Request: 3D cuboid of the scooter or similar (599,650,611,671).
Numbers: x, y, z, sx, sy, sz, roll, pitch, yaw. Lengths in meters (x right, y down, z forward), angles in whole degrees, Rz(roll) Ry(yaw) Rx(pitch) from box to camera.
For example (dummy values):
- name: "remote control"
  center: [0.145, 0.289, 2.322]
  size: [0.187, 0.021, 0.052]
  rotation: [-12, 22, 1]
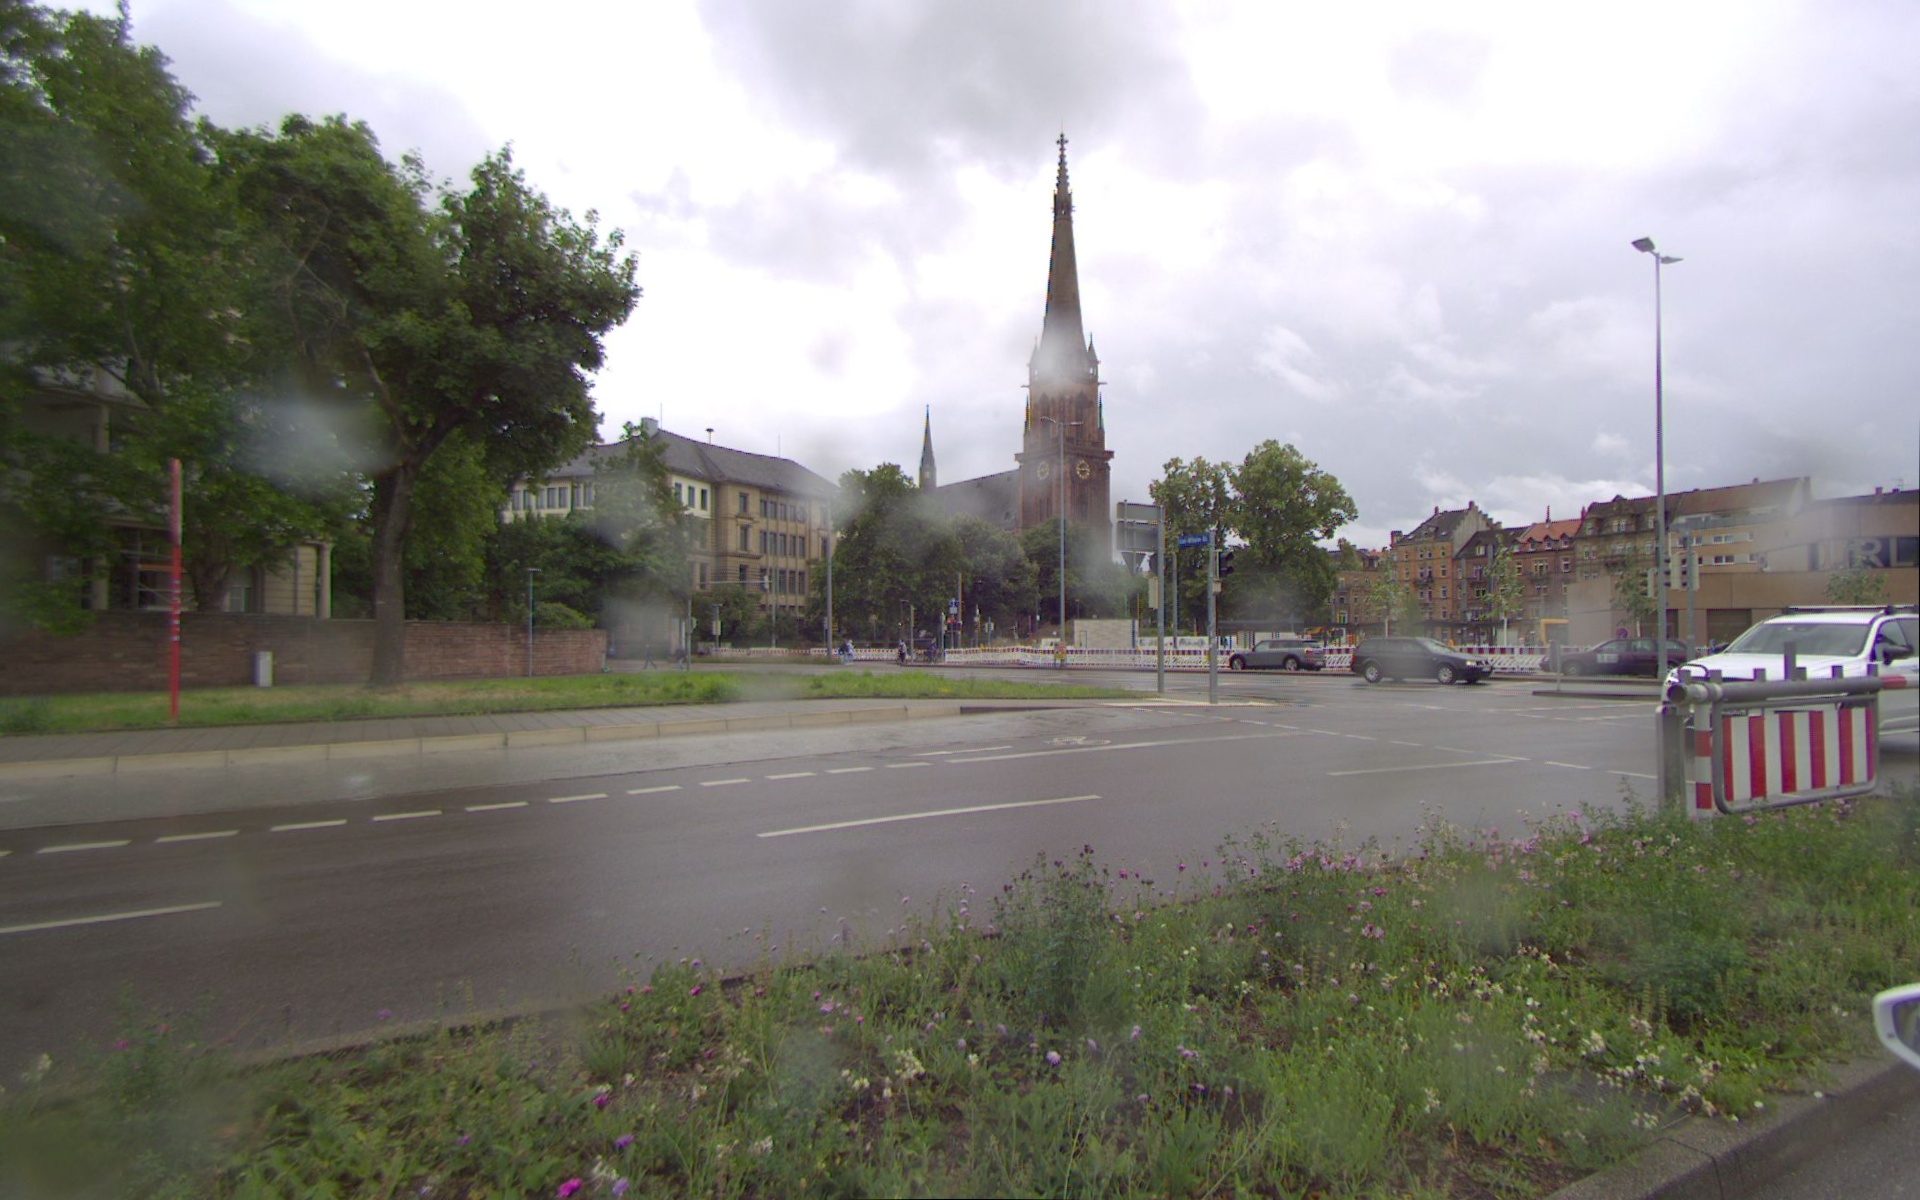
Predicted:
- name: "scooter or similar"
  center: [-18.785, 3.206, 53.163]
  size: [0.274, 1.096, 1.078]
  rotation: [0, -2, -4]

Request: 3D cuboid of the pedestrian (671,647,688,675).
- name: "pedestrian"
  center: [-15.410, 3.326, 55.173]
  size: [0.662, 1.520, 0.774]
  rotation: [0, -2, 0]

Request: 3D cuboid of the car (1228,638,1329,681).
- name: "car"
  center: [13.411, 2.461, 42.465]
  size: [1.695, 1.728, 3.781]
  rotation: [1, -2, -37]

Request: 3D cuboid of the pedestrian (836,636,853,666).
- name: "pedestrian"
  center: [-7.931, 3.495, 69.035]
  size: [0.945, 2.040, 0.852]
  rotation: [1, -2, -30]

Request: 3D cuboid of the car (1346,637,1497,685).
- name: "car"
  center: [14.702, 1.894, 32.181]
  size: [1.602, 1.420, 4.163]
  rotation: [1, -2, -35]

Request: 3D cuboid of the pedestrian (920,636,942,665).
- name: "pedestrian"
  center: [-2.043, 3.572, 71.308]
  size: [0.981, 2.040, 1.305]
  rotation: [-1, -2, 34]

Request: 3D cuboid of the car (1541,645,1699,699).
- name: "car"
  center: [22.425, 2.406, 34.322]
  size: [4.383, 1.728, 1.707]
  rotation: [-1, -2, 32]

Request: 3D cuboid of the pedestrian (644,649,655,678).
- name: "pedestrian"
  center: [-20.966, 4.301, 67.852]
  size: [0.591, 1.915, 0.606]
  rotation: [0, -2, -6]

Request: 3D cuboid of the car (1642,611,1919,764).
- name: "car"
  center: [11.409, 1.017, 13.149]
  size: [5.097, 1.704, 1.820]
  rotation: [1, -1, -26]

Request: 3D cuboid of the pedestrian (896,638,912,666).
- name: "pedestrian"
  center: [-3.678, 3.395, 66.023]
  size: [0.765, 1.801, 0.720]
  rotation: [1, -2, -30]

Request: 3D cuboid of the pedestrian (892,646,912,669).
- name: "pedestrian"
  center: [-3.934, 3.910, 68.514]
  size: [0.917, 1.560, 1.057]
  rotation: [-1, -2, 34]

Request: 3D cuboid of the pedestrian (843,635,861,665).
- name: "pedestrian"
  center: [-7.368, 3.372, 68.315]
  size: [0.945, 2.040, 0.852]
  rotation: [1, -2, -30]
